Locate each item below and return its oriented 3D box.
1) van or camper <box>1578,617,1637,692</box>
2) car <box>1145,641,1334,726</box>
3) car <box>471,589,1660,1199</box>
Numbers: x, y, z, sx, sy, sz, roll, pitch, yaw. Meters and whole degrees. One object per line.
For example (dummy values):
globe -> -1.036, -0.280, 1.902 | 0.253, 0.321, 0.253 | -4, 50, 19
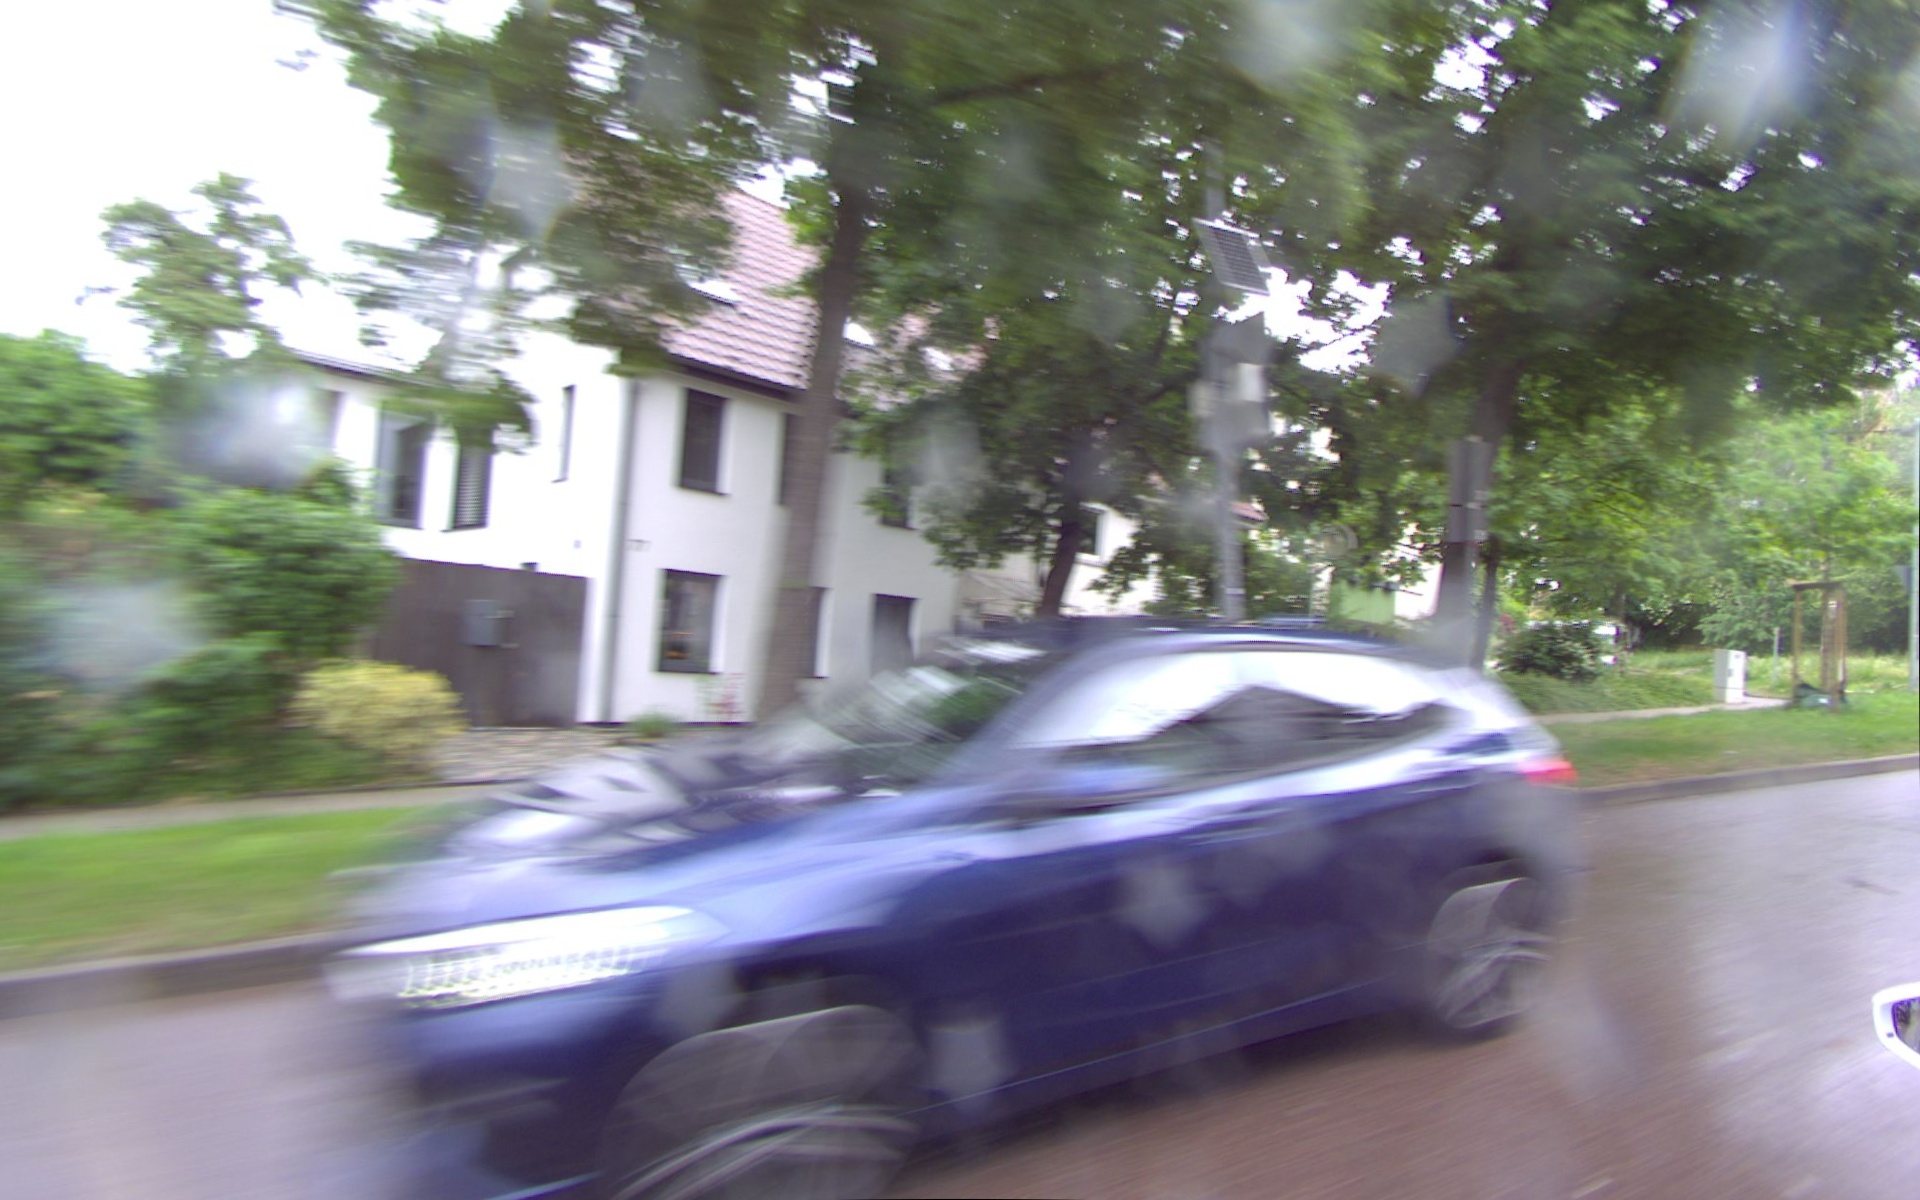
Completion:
van or camper -> 25.201, 2.022, 39.256 | 1.612, 2.591, 6.052 | 4, 1, 31
car -> 5.360, 1.505, 19.093 | 3.423, 1.347, 1.974 | 2, 0, -43
car -> 0.501, 0.756, 3.653 | 4.014, 1.460, 1.757 | 2, 0, -29
